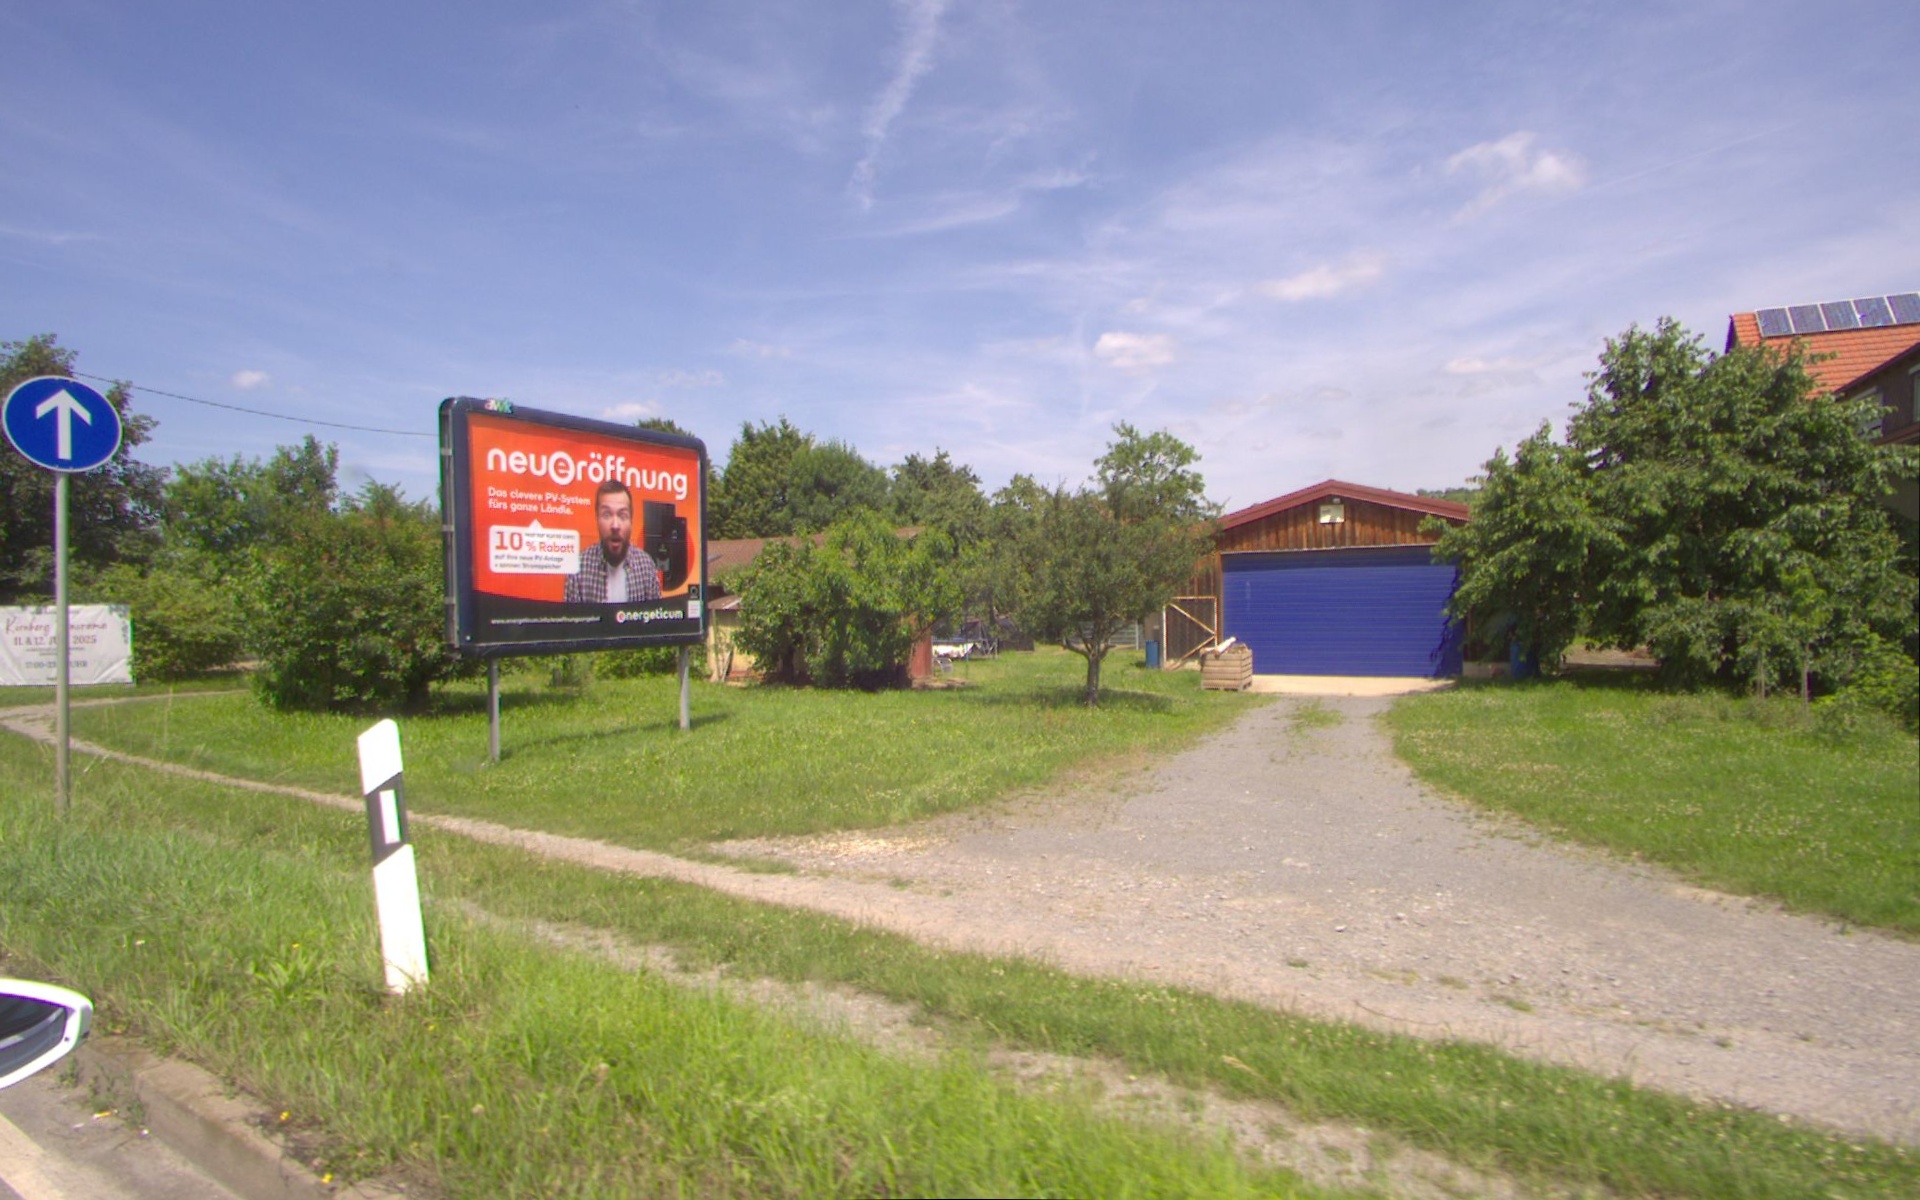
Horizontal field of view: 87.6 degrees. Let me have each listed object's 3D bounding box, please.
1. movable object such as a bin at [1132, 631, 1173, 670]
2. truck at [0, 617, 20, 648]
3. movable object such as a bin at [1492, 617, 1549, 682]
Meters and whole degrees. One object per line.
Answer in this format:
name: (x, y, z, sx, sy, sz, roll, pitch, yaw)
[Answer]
movable object such as a bin: (5.506, 1.435, 28.653, 1.044, 1.046, 1.040, 0, 0, 17)
truck: (-90.449, 2.997, 94.052, 2.398, 2.875, 5.375, 0, -1, -35)
movable object such as a bin: (12.712, 1.106, 22.701, 1.049, 1.415, 1.271, 0, 0, 33)
